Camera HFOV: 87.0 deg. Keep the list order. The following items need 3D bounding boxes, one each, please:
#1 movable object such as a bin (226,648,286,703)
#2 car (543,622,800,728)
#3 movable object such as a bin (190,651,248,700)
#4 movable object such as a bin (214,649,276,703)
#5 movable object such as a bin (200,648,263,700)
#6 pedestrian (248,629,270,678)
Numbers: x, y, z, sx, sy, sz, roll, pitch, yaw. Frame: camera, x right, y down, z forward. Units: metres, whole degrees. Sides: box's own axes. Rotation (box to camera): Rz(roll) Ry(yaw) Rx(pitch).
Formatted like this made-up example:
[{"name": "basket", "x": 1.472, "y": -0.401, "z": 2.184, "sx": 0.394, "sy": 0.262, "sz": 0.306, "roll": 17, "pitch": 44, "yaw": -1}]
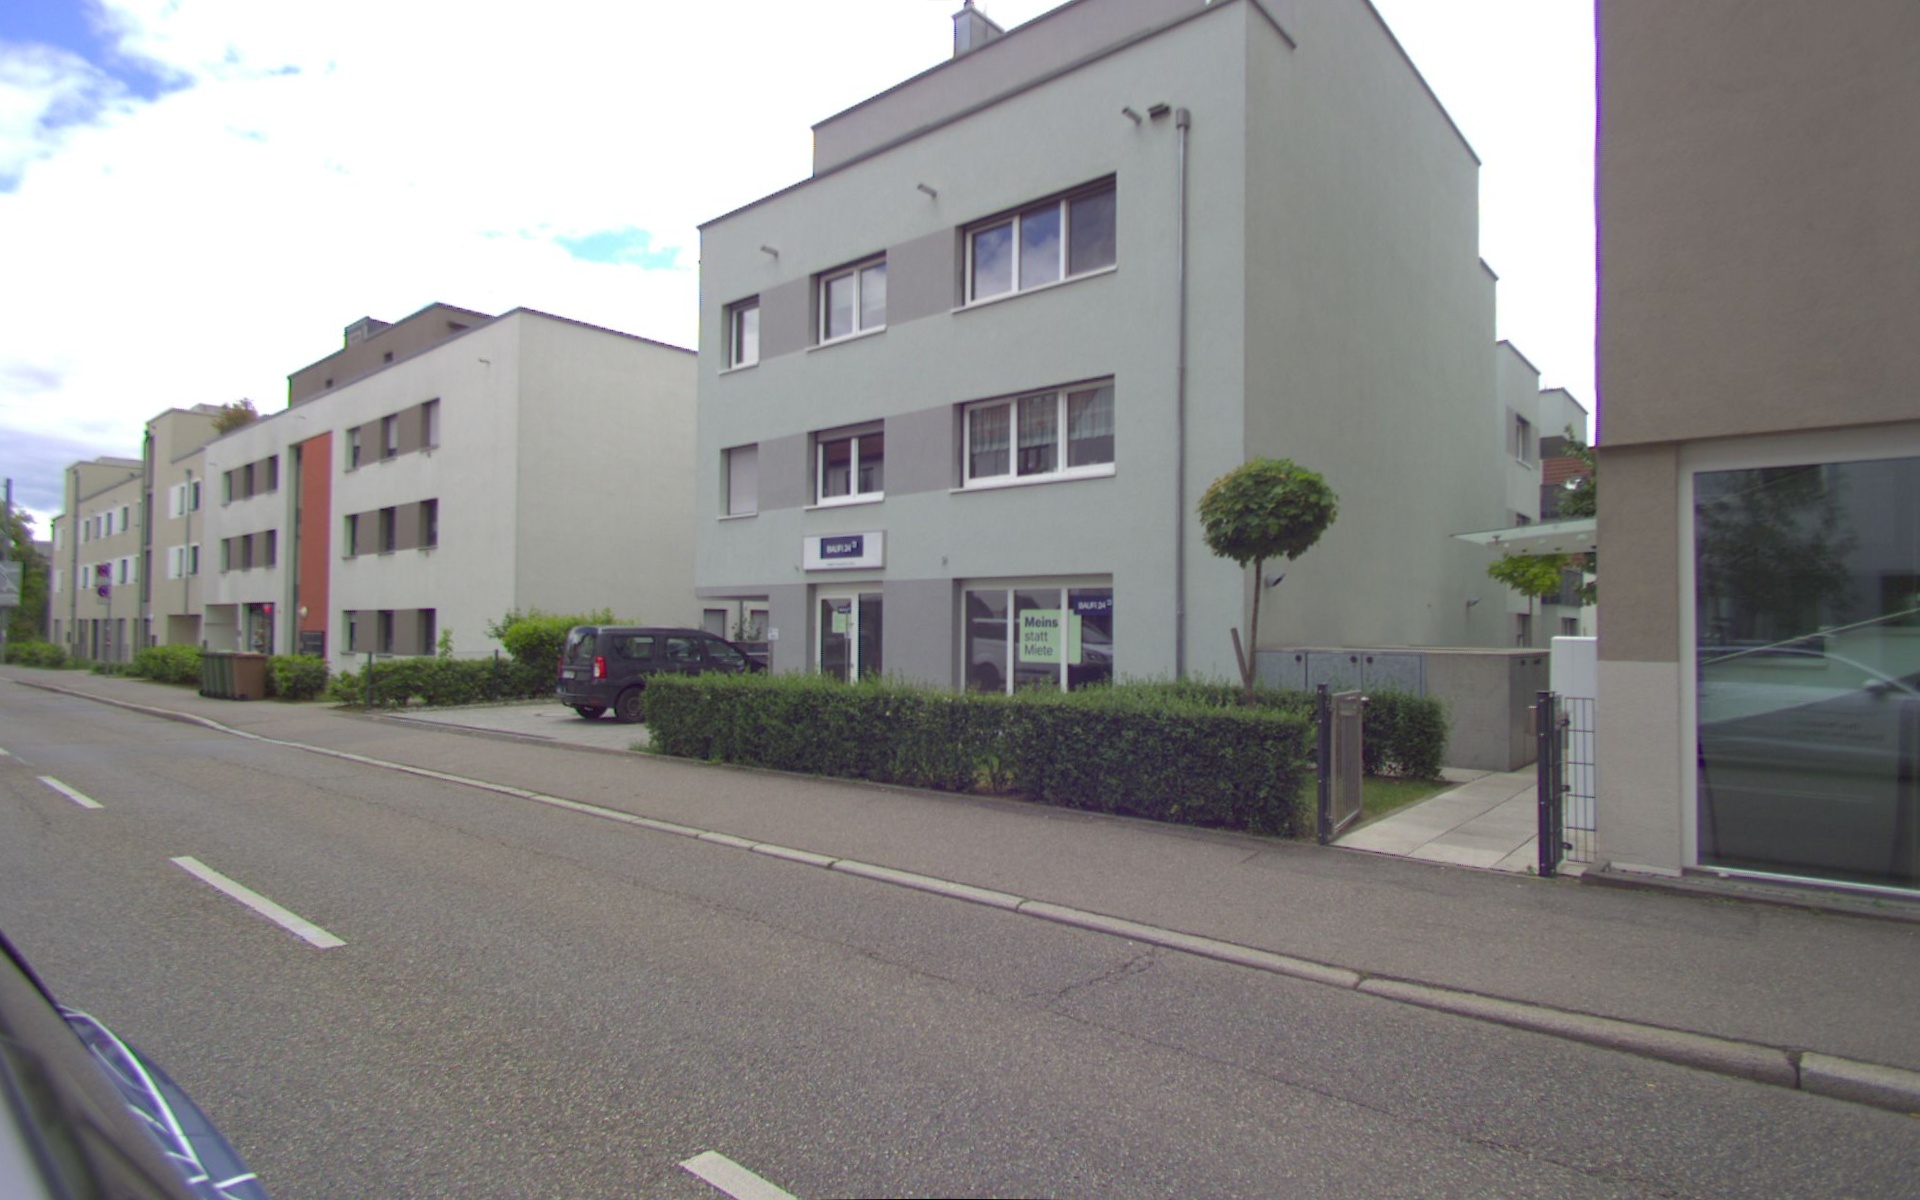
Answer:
[{"name": "movable object such as a bin", "x": -15.539, "y": 1.646, "z": 22.356, "sx": 0.611, "sy": 1.160, "sz": 0.932, "roll": -2, "pitch": -3, "yaw": 36}, {"name": "car", "x": -5.060, "y": 1.256, "z": 18.142, "sx": 1.725, "sy": 1.680, "sz": 4.116, "roll": -1, "pitch": -3, "yaw": 44}, {"name": "movable object such as a bin", "x": -17.441, "y": 1.756, "z": 23.833, "sx": 0.791, "sy": 1.097, "sz": 0.886, "roll": -2, "pitch": -3, "yaw": 36}, {"name": "movable object such as a bin", "x": -16.089, "y": 1.694, "z": 22.788, "sx": 0.748, "sy": 1.160, "sz": 0.940, "roll": -2, "pitch": -3, "yaw": 36}, {"name": "movable object such as a bin", "x": -16.779, "y": 1.690, "z": 23.307, "sx": 0.839, "sy": 1.160, "sz": 0.947, "roll": -2, "pitch": -3, "yaw": 36}, {"name": "pedestrian", "x": -24.314, "y": 1.853, "z": 35.115, "sx": 0.511, "sy": 1.655, "sz": 0.642, "roll": 1, "pitch": -2, "yaw": -26}]
